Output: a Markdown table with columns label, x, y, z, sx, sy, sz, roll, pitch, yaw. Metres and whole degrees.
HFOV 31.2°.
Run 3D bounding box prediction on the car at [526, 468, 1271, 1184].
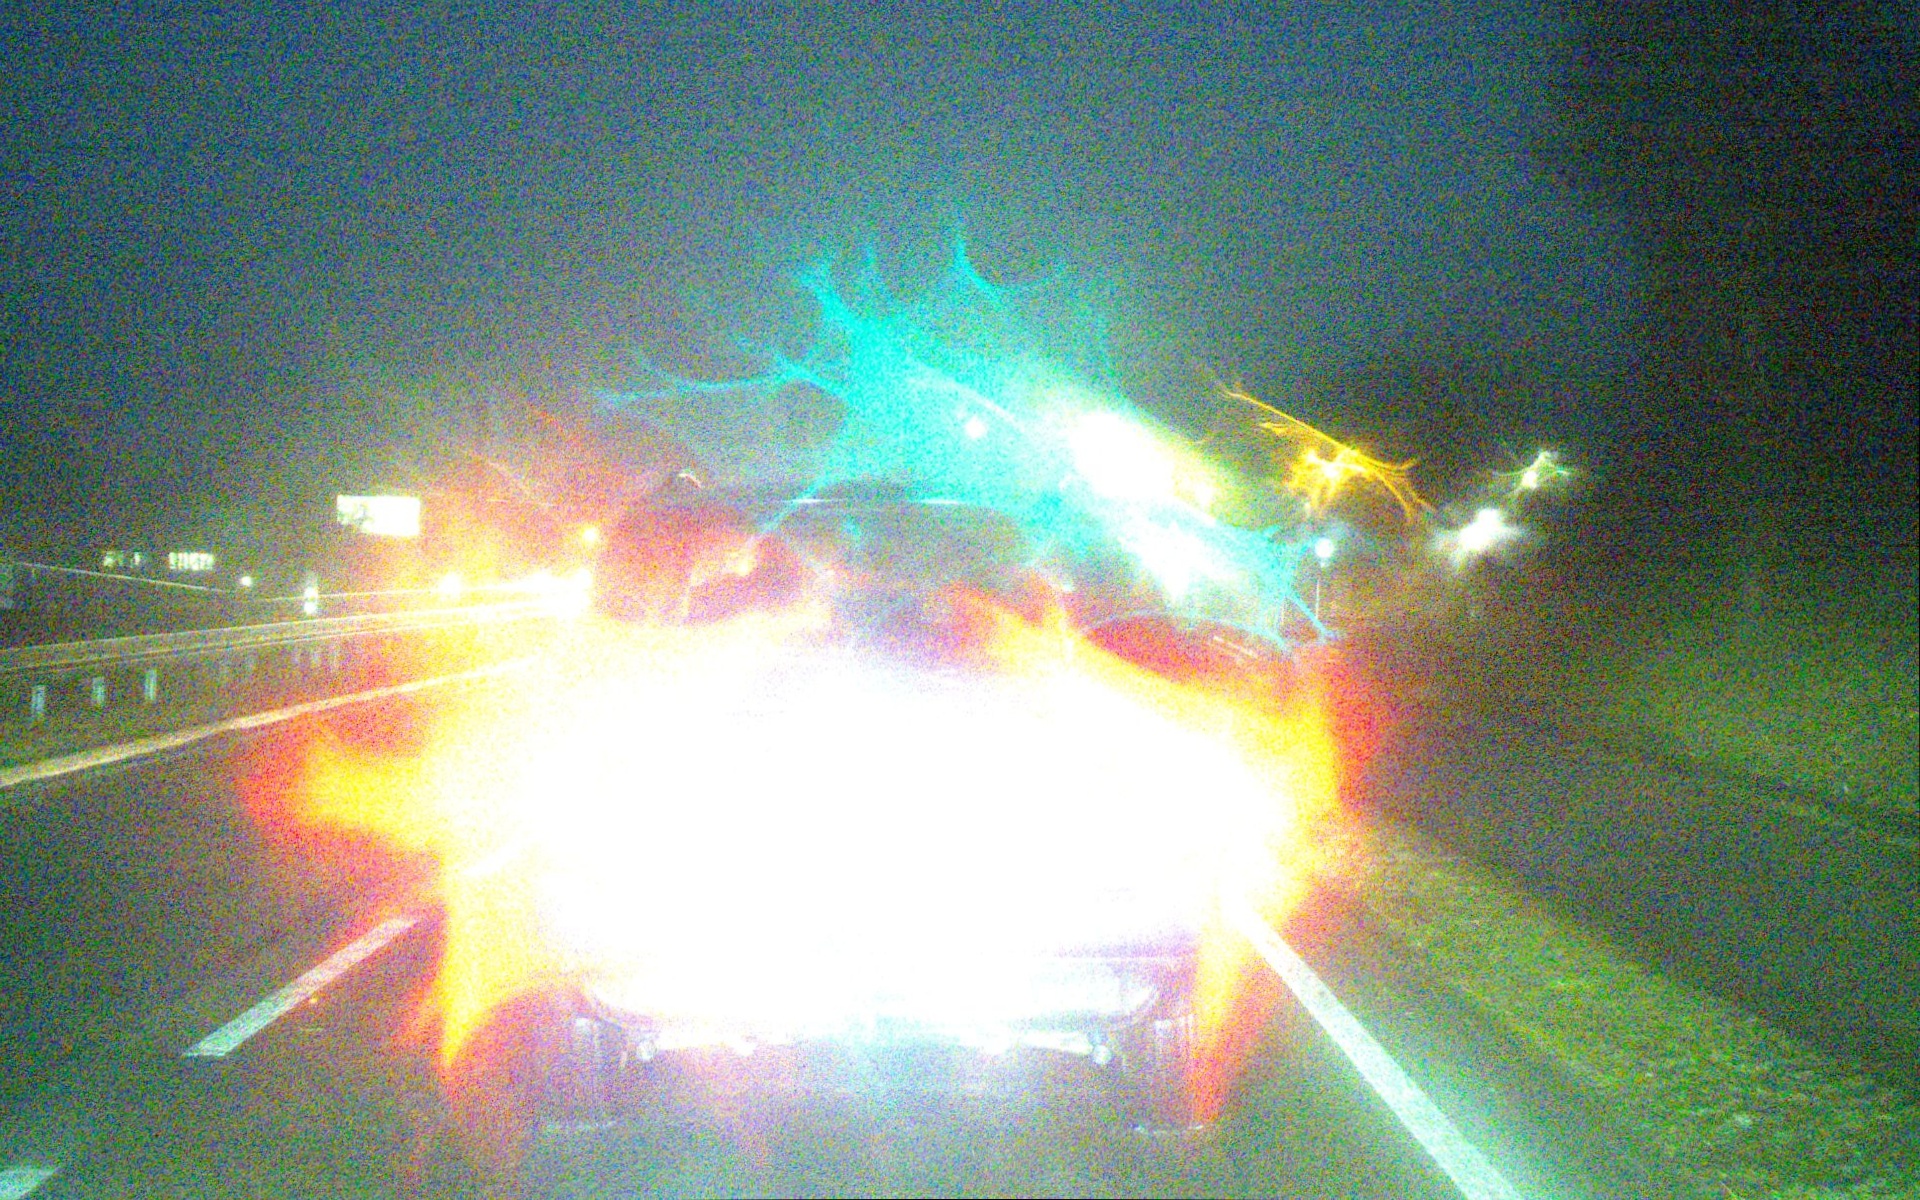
| label | x | y | z | sx | sy | sz | roll | pitch | yaw |
| --- | --- | --- | --- | --- | --- | --- | --- | --- | --- |
| car | -0.147 | 0.533 | 10.244 | 1.775 | 1.706 | 4.000 | 0 | 0 | 0 |
